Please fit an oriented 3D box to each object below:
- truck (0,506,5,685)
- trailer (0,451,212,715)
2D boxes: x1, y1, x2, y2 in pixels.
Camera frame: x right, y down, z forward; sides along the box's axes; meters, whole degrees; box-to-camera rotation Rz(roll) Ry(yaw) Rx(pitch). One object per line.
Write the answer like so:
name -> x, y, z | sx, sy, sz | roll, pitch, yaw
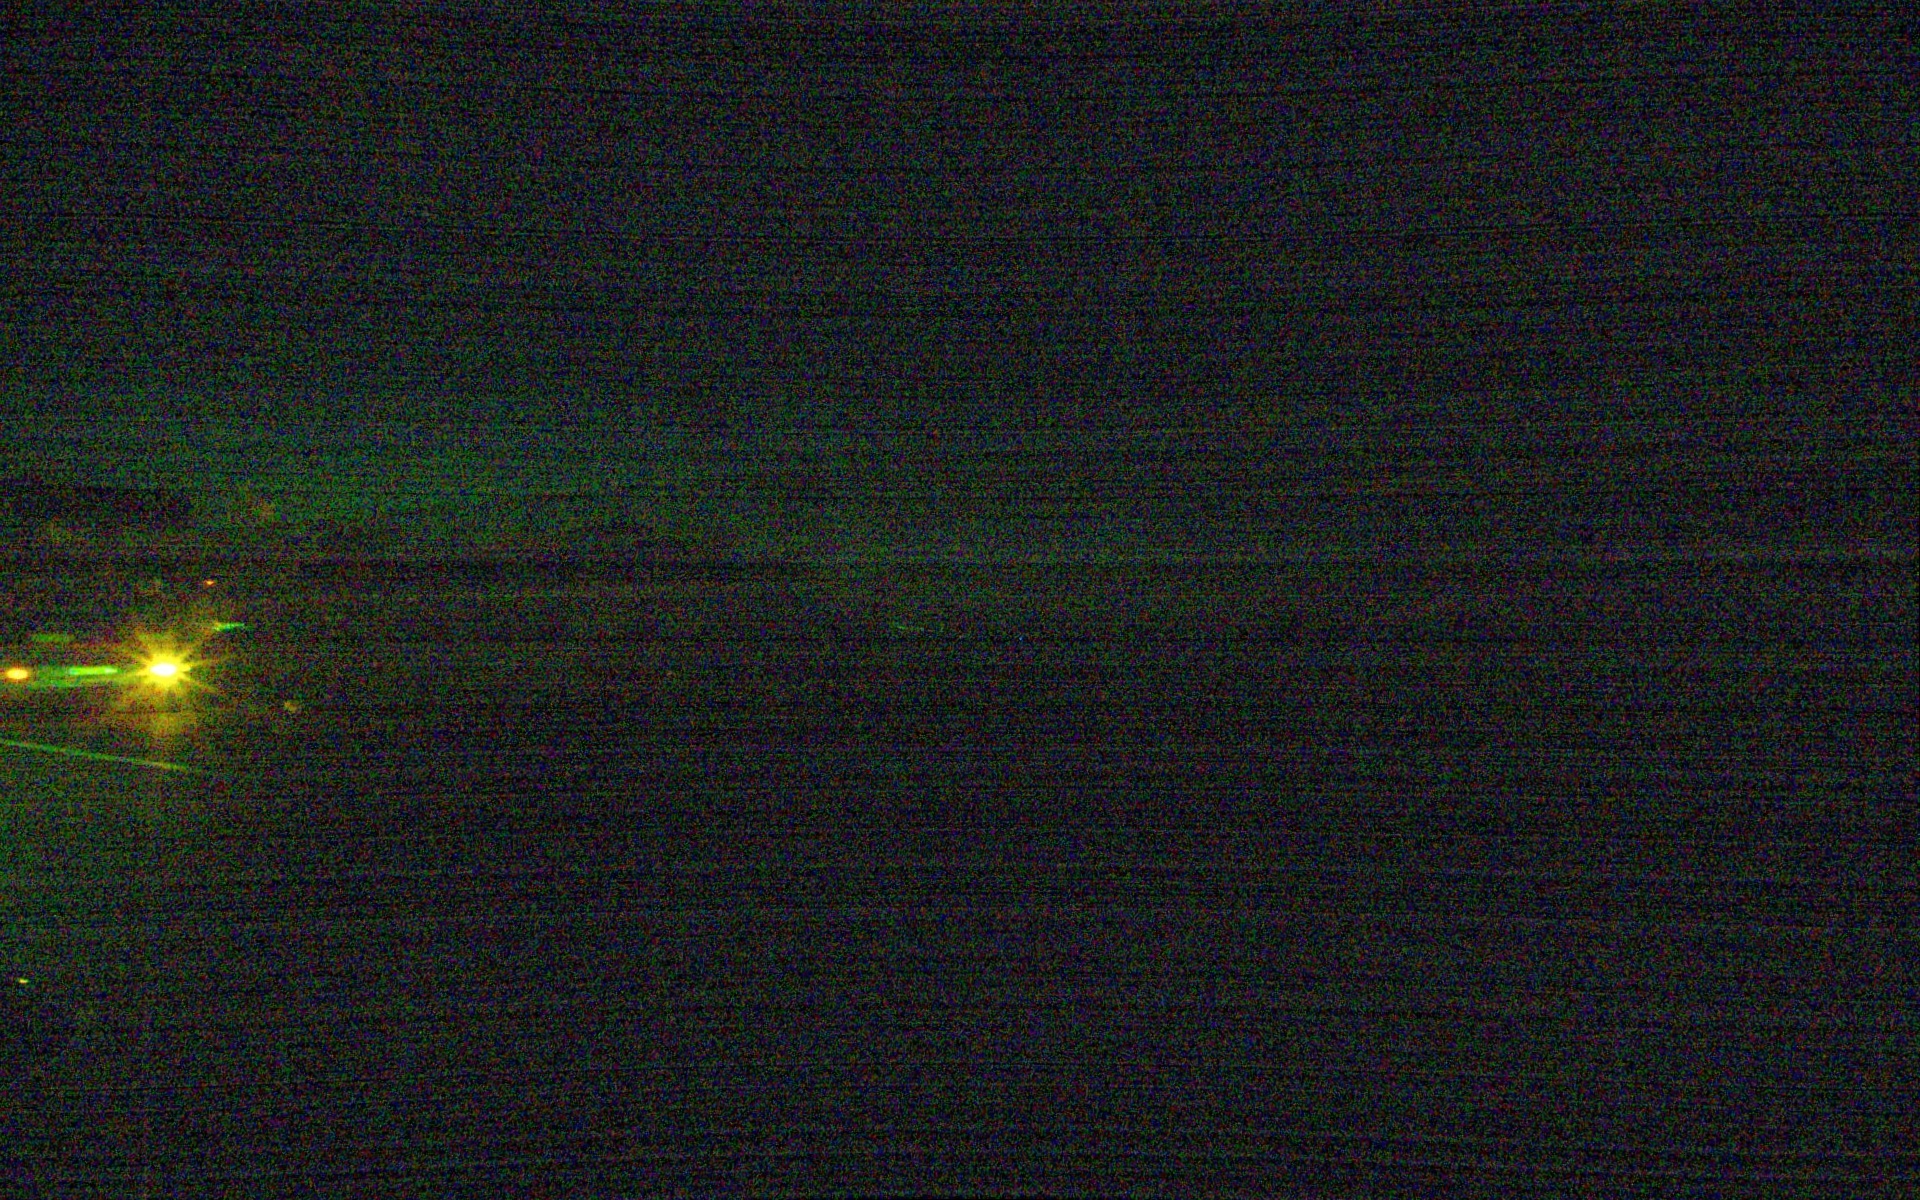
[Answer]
truck -> -25.978, -0.099, 23.758 | 7.398, 4.129, 2.858 | -1, -1, 30
trailer -> -19.883, -0.169, 20.199 | 13.008, 4.120, 2.851 | -1, -1, 30
